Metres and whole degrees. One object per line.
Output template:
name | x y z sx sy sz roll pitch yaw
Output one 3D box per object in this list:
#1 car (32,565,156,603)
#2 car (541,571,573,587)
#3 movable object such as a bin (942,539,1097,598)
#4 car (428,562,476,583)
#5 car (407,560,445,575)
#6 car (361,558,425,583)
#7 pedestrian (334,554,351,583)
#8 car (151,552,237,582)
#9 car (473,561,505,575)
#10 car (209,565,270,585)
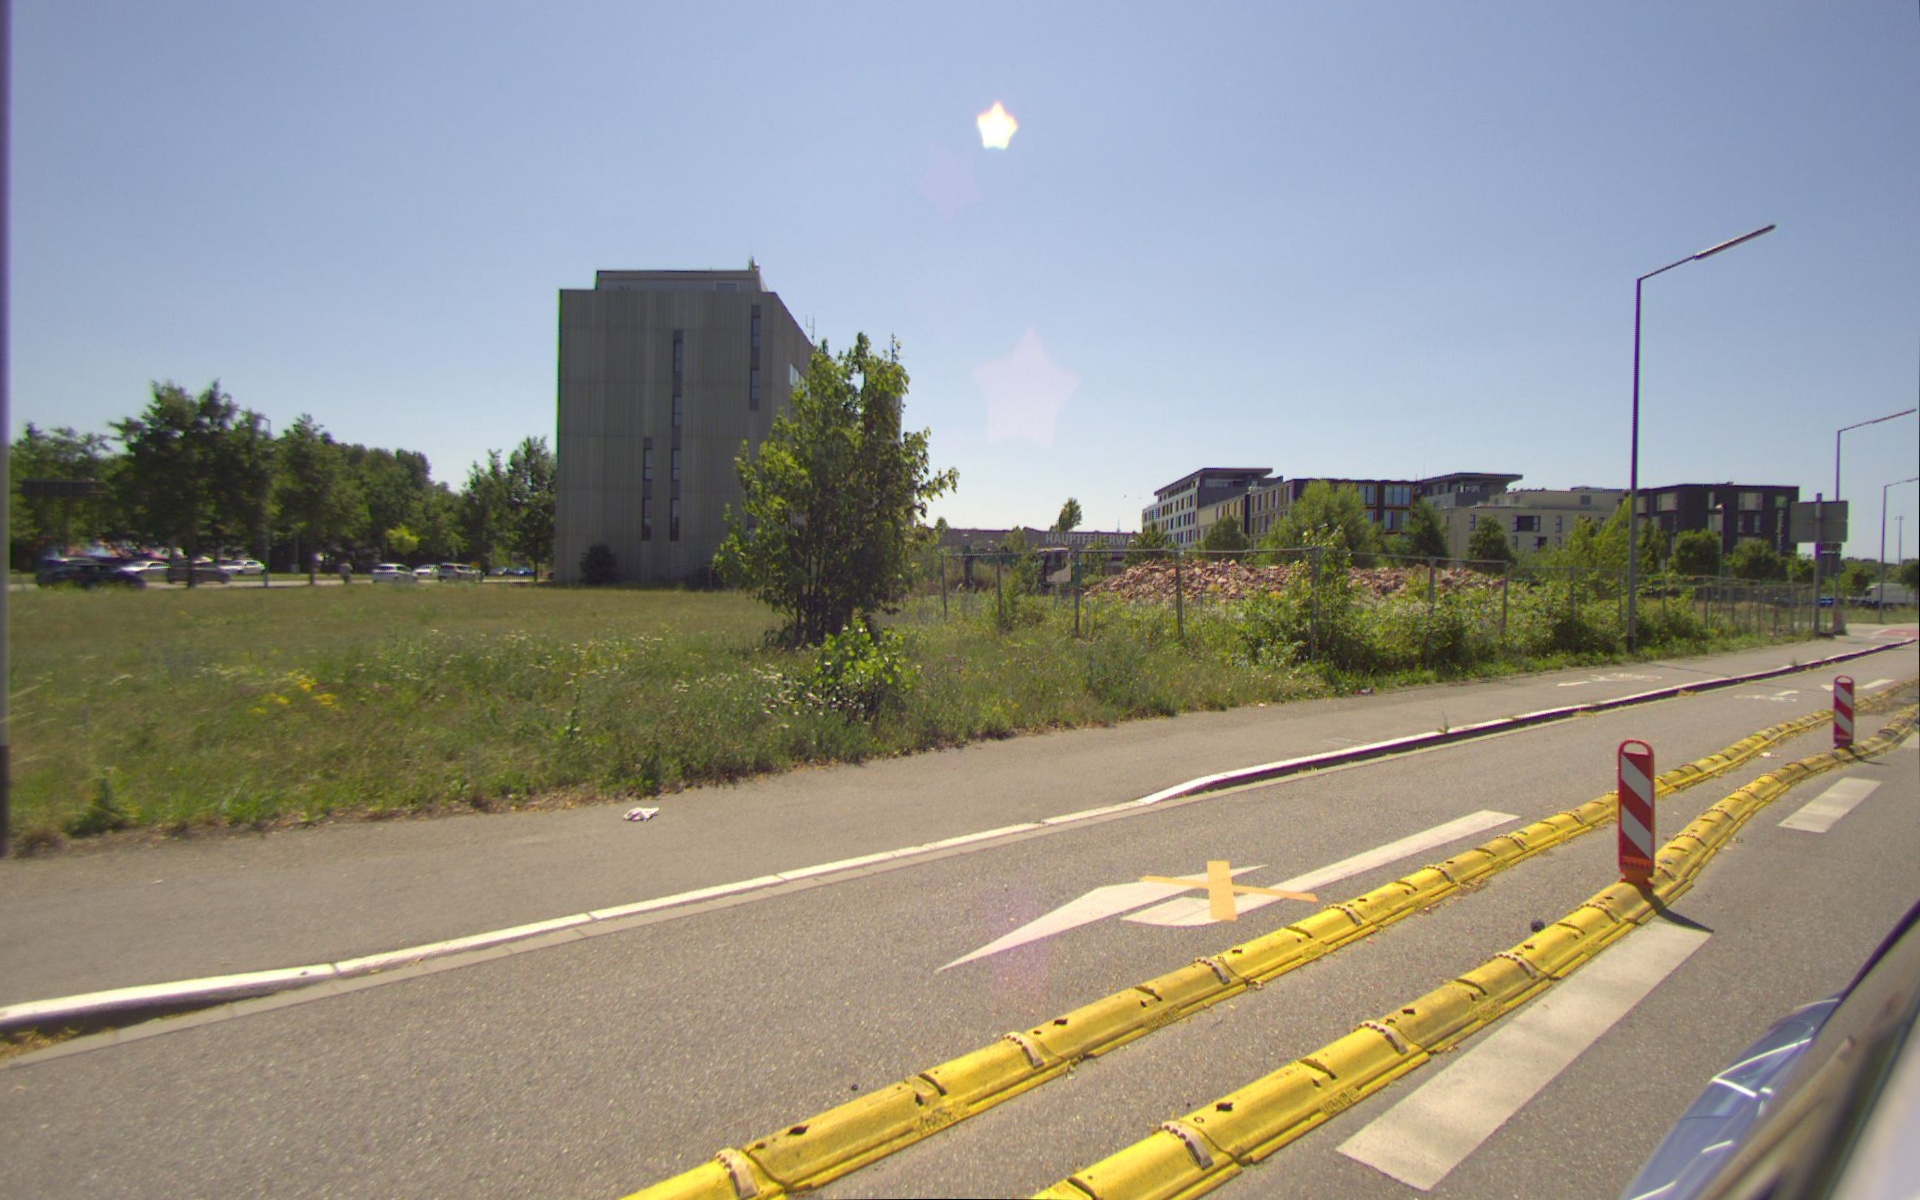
car | -42.510 -0.764 49.829 1.964 1.757 4.639 0 0 4
car | -47.283 -2.431 118.826 1.962 1.757 4.645 0 0 -1
movable object such as a bin | 3.132 -1.603 53.290 7.537 2.952 3.242 -1 0 -26
car | -44.992 -2.422 89.782 1.962 1.757 4.645 0 0 -1
car | -58.142 -3.523 110.264 1.814 1.612 4.443 0 0 1
car | -42.445 -2.161 75.833 1.964 1.757 4.639 0 0 4
pedestrian | -33.940 -1.733 55.618 0.652 1.611 0.557 0 0 -15
car | -48.143 -2.042 63.719 1.962 1.757 4.645 0 0 -1
car | -58.594 -3.943 125.977 1.814 1.612 4.443 0 0 1
car | -58.840 -2.024 82.748 1.814 1.612 4.443 0 0 1
